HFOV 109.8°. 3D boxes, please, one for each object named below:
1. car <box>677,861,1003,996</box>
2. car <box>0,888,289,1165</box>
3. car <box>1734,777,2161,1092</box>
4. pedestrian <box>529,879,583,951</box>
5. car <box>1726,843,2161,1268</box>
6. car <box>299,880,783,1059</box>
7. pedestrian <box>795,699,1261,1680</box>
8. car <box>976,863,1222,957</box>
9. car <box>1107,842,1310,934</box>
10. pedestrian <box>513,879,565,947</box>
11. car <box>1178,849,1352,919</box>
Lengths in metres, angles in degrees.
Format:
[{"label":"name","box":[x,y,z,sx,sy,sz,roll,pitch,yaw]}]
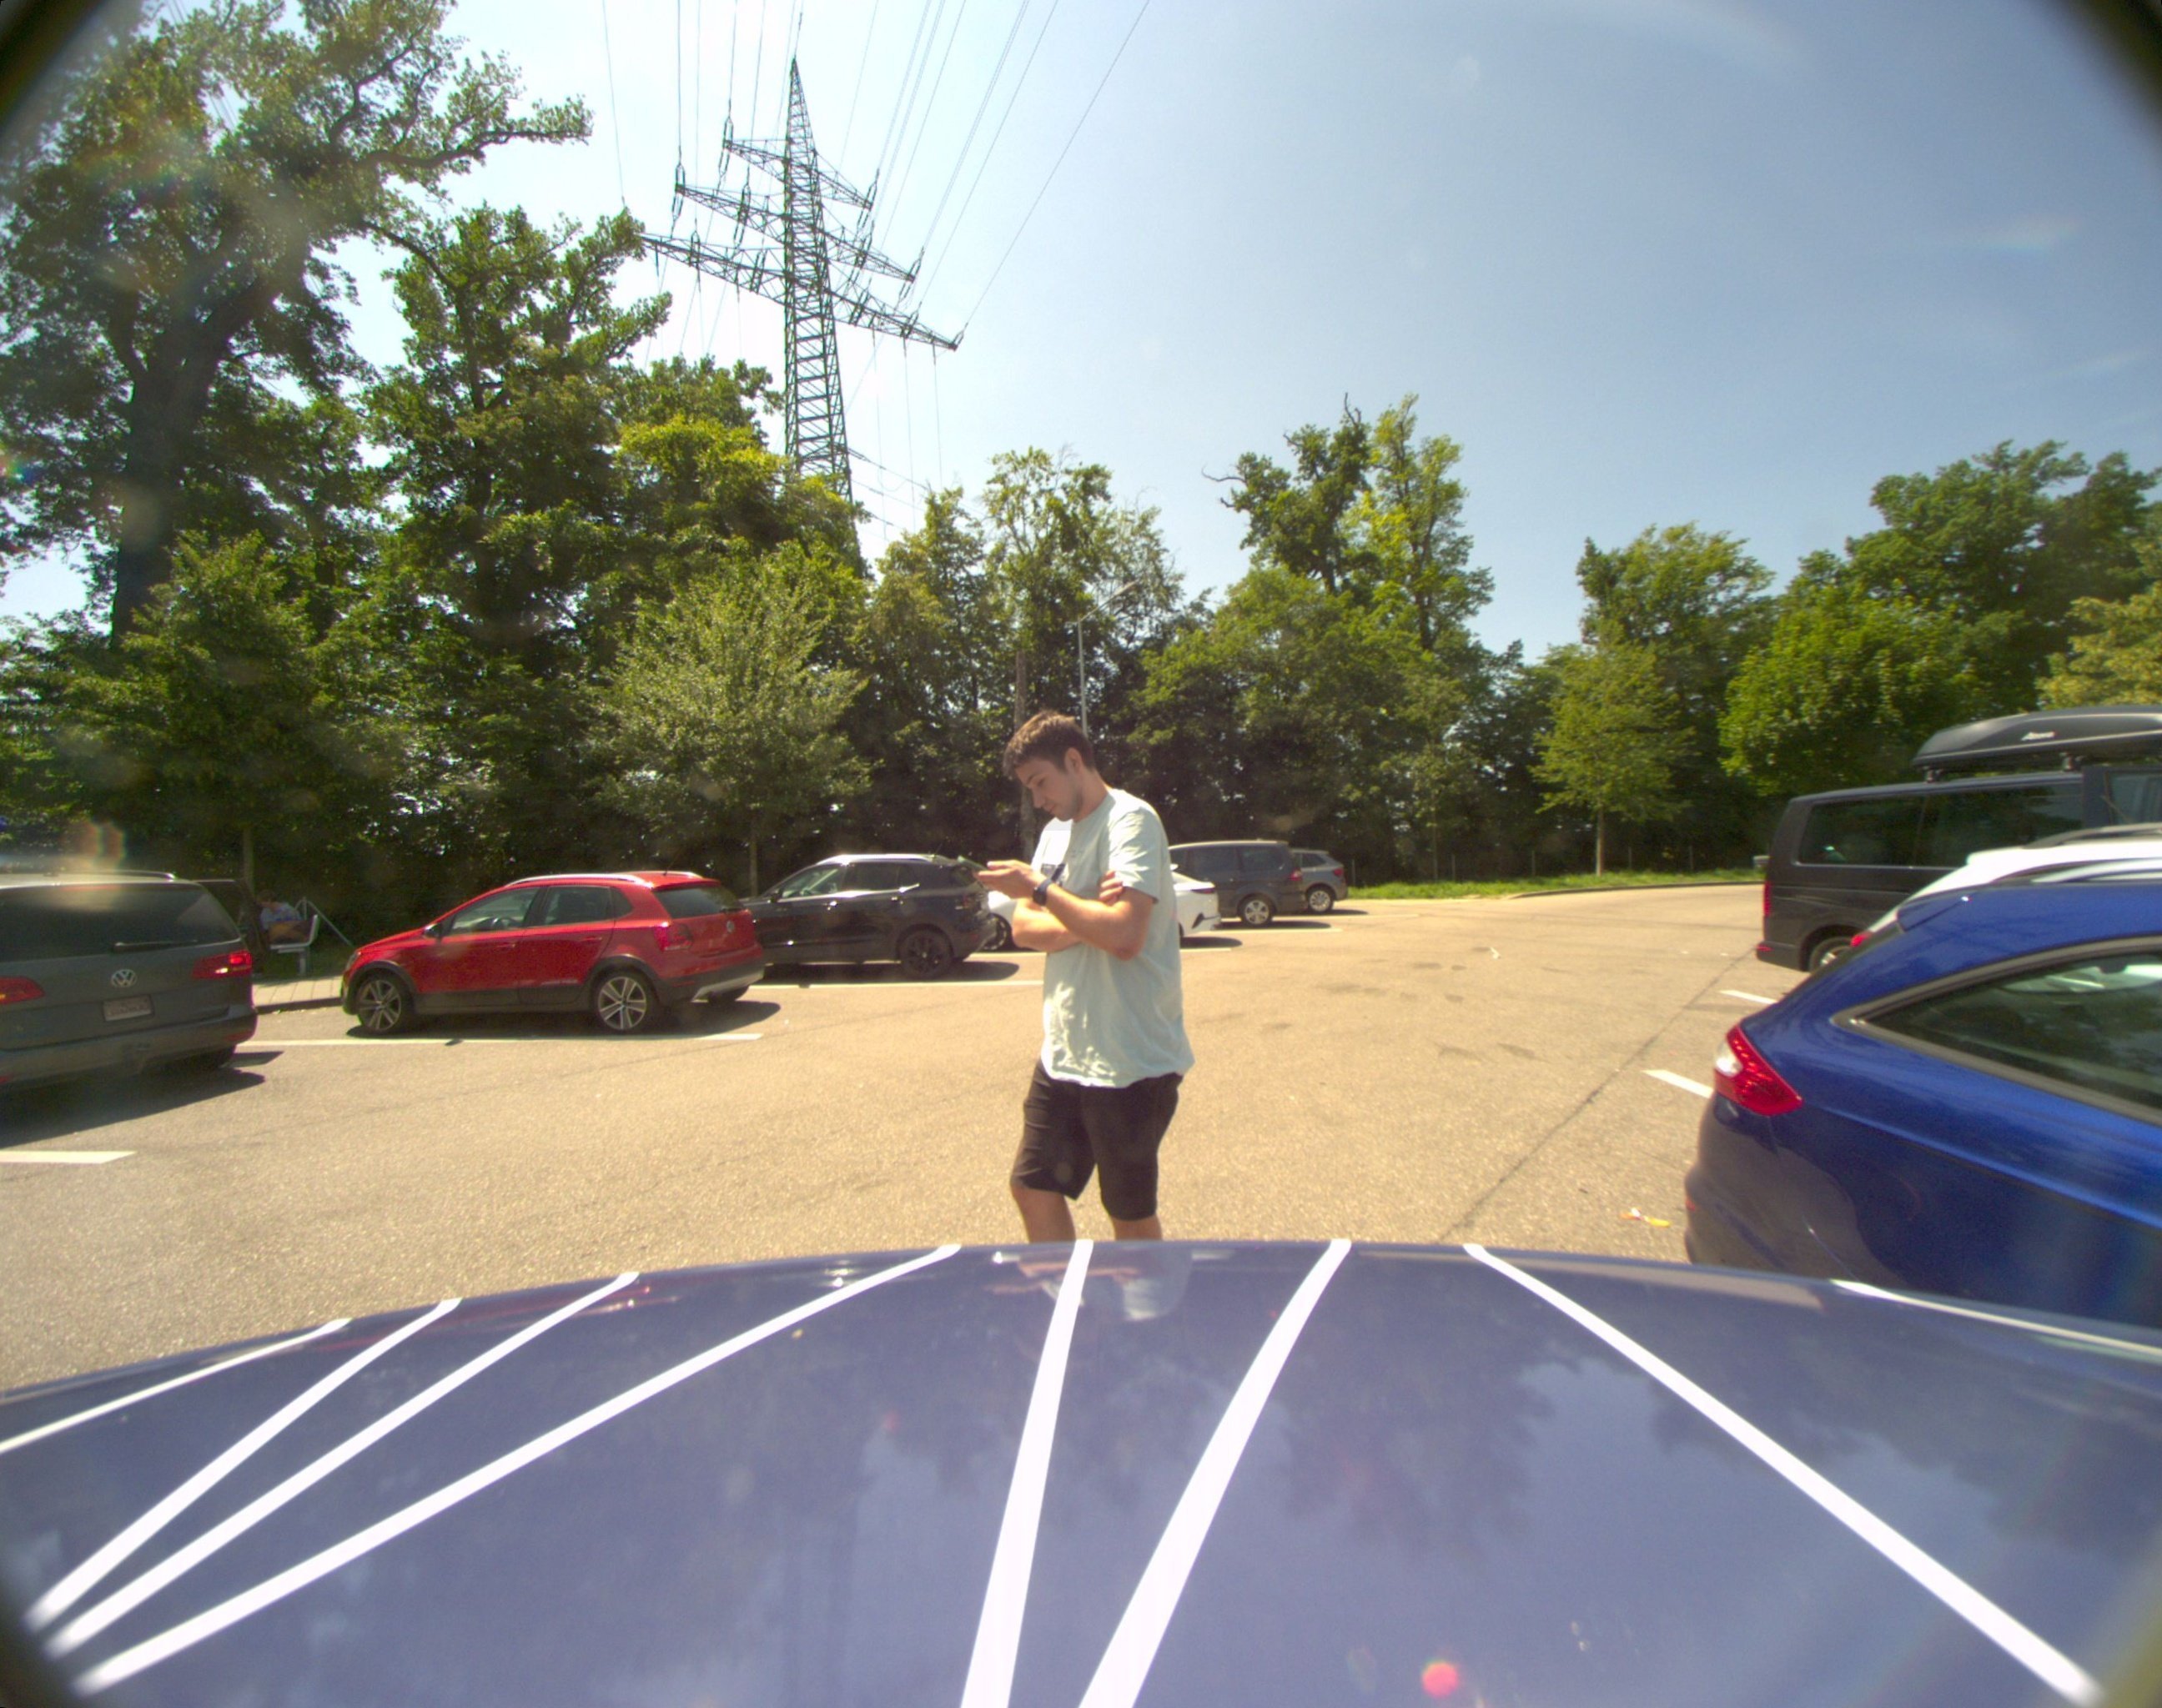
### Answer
[{"label":"car","box":[-3.079,0.939,10.258,3.787,1.564,1.721,-1,1,2]},{"label":"car","box":[-8.303,1.109,5.437,3.985,1.572,1.749,-1,1,12]},{"label":"car","box":[7.309,0.436,4.912,1.961,1.858,4.642,-3,-1,-3]},{"label":"pedestrian","box":[-10.026,1.142,14.510,0.782,1.287,0.670,-1,2,45]},{"label":"car","box":[4.862,0.724,2.283,1.741,1.524,4.642,-3,-1,-2]},{"label":"car","box":[-5.251,1.068,7.647,3.785,1.457,1.722,-1,1,9]},{"label":"pedestrian","box":[-0.108,0.636,1.890,0.888,1.831,0.623,-2,1,29]},{"label":"car","box":[0.351,0.901,12.725,3.819,1.377,1.722,-1,1,6]},{"label":"car","box":[2.574,0.668,15.451,3.818,1.714,1.722,-1,1,12]},{"label":"pedestrian","box":[-10.914,1.168,15.304,0.782,1.287,0.670,-1,2,45]},{"label":"car","box":[4.326,0.691,18.154,3.818,1.530,1.722,-1,1,12]}]
